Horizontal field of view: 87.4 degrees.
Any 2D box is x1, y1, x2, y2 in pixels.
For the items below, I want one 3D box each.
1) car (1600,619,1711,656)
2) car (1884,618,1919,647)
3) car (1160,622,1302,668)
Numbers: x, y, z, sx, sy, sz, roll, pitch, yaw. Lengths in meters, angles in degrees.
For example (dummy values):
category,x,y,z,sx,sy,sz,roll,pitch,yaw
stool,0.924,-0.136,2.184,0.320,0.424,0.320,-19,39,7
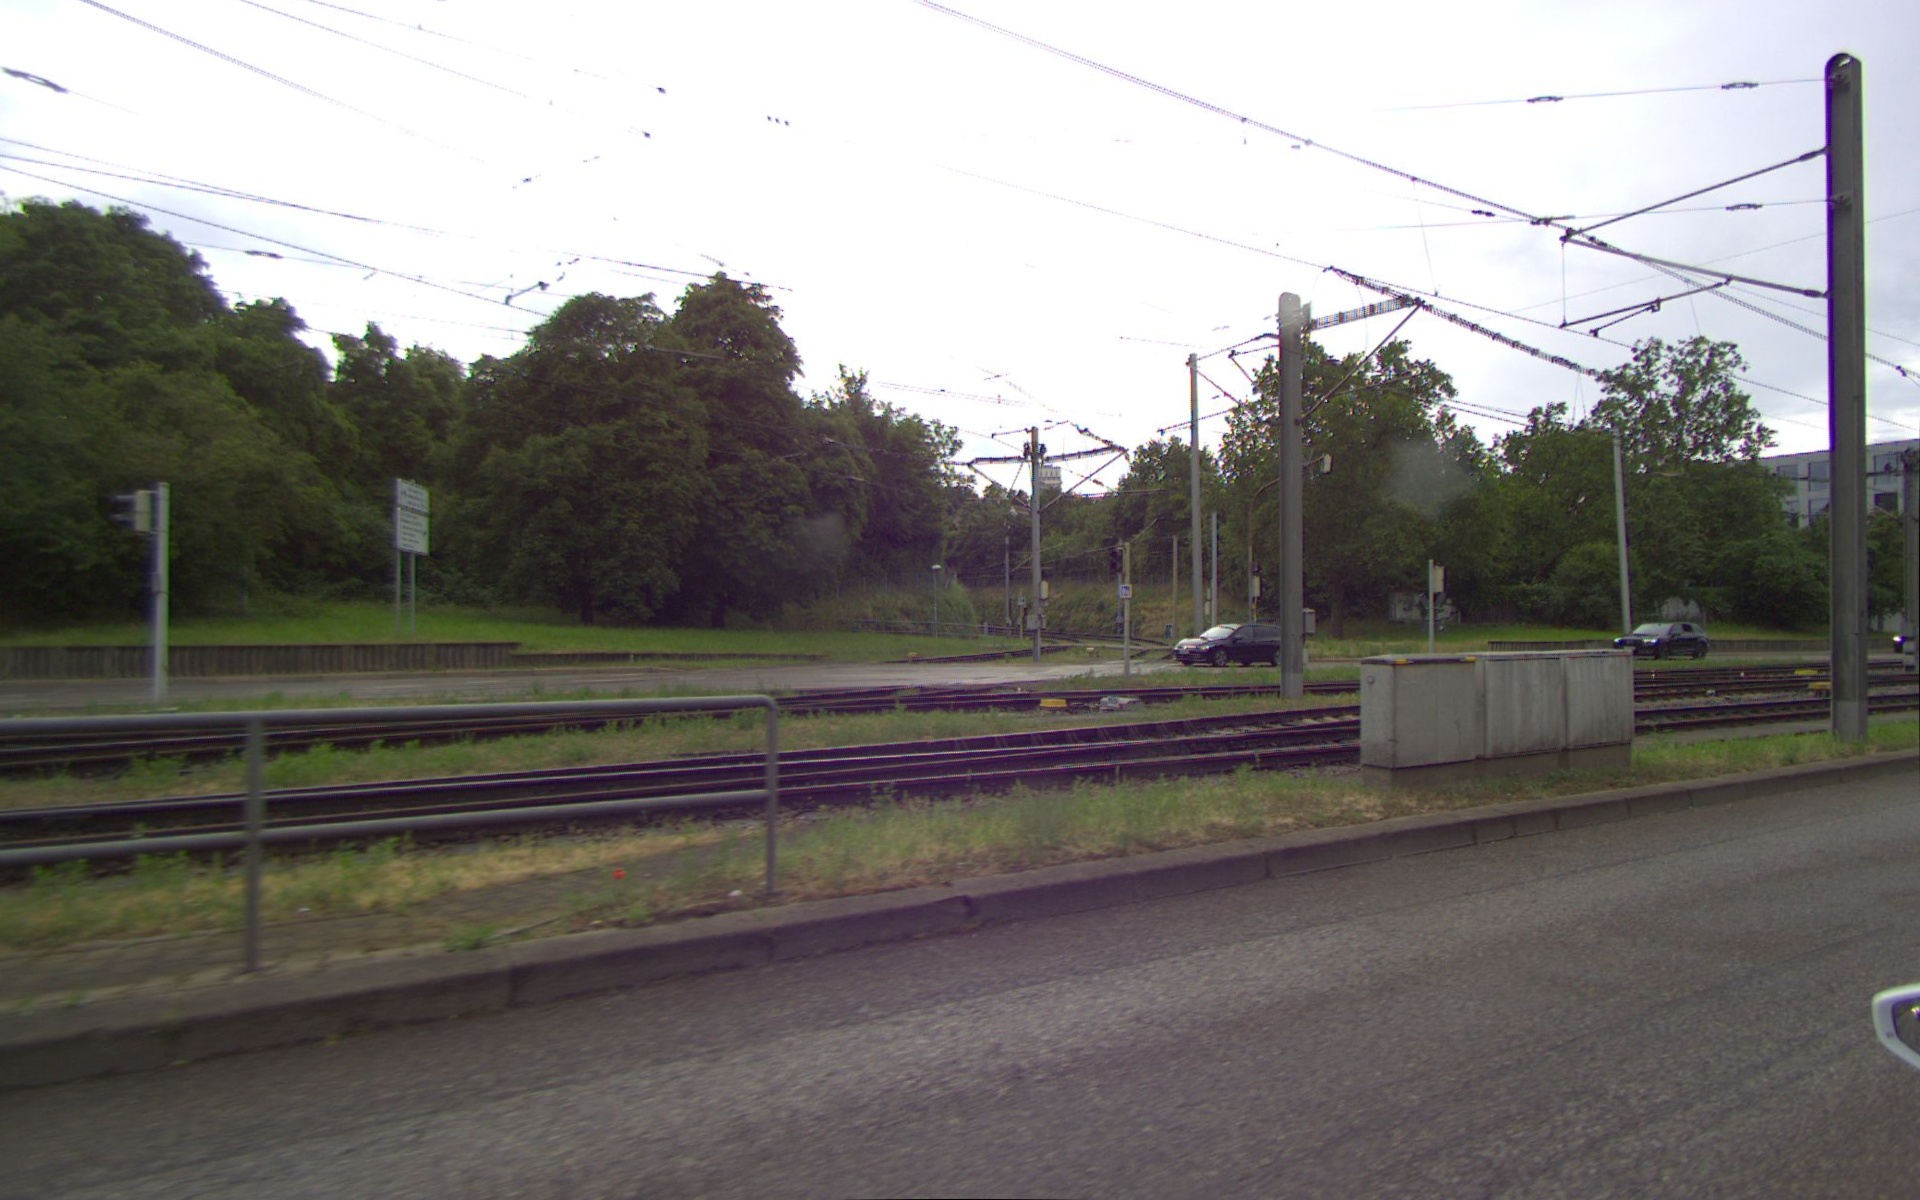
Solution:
category,x,y,z,sx,sy,sz,roll,pitch,yaw
car,31.747,1.693,45.855,5.093,1.610,2.081,1,-1,-28
car,55.916,1.885,58.330,4.789,1.616,1.939,1,-1,-30
car,9.205,1.493,34.010,4.624,1.466,1.919,1,-1,-28
